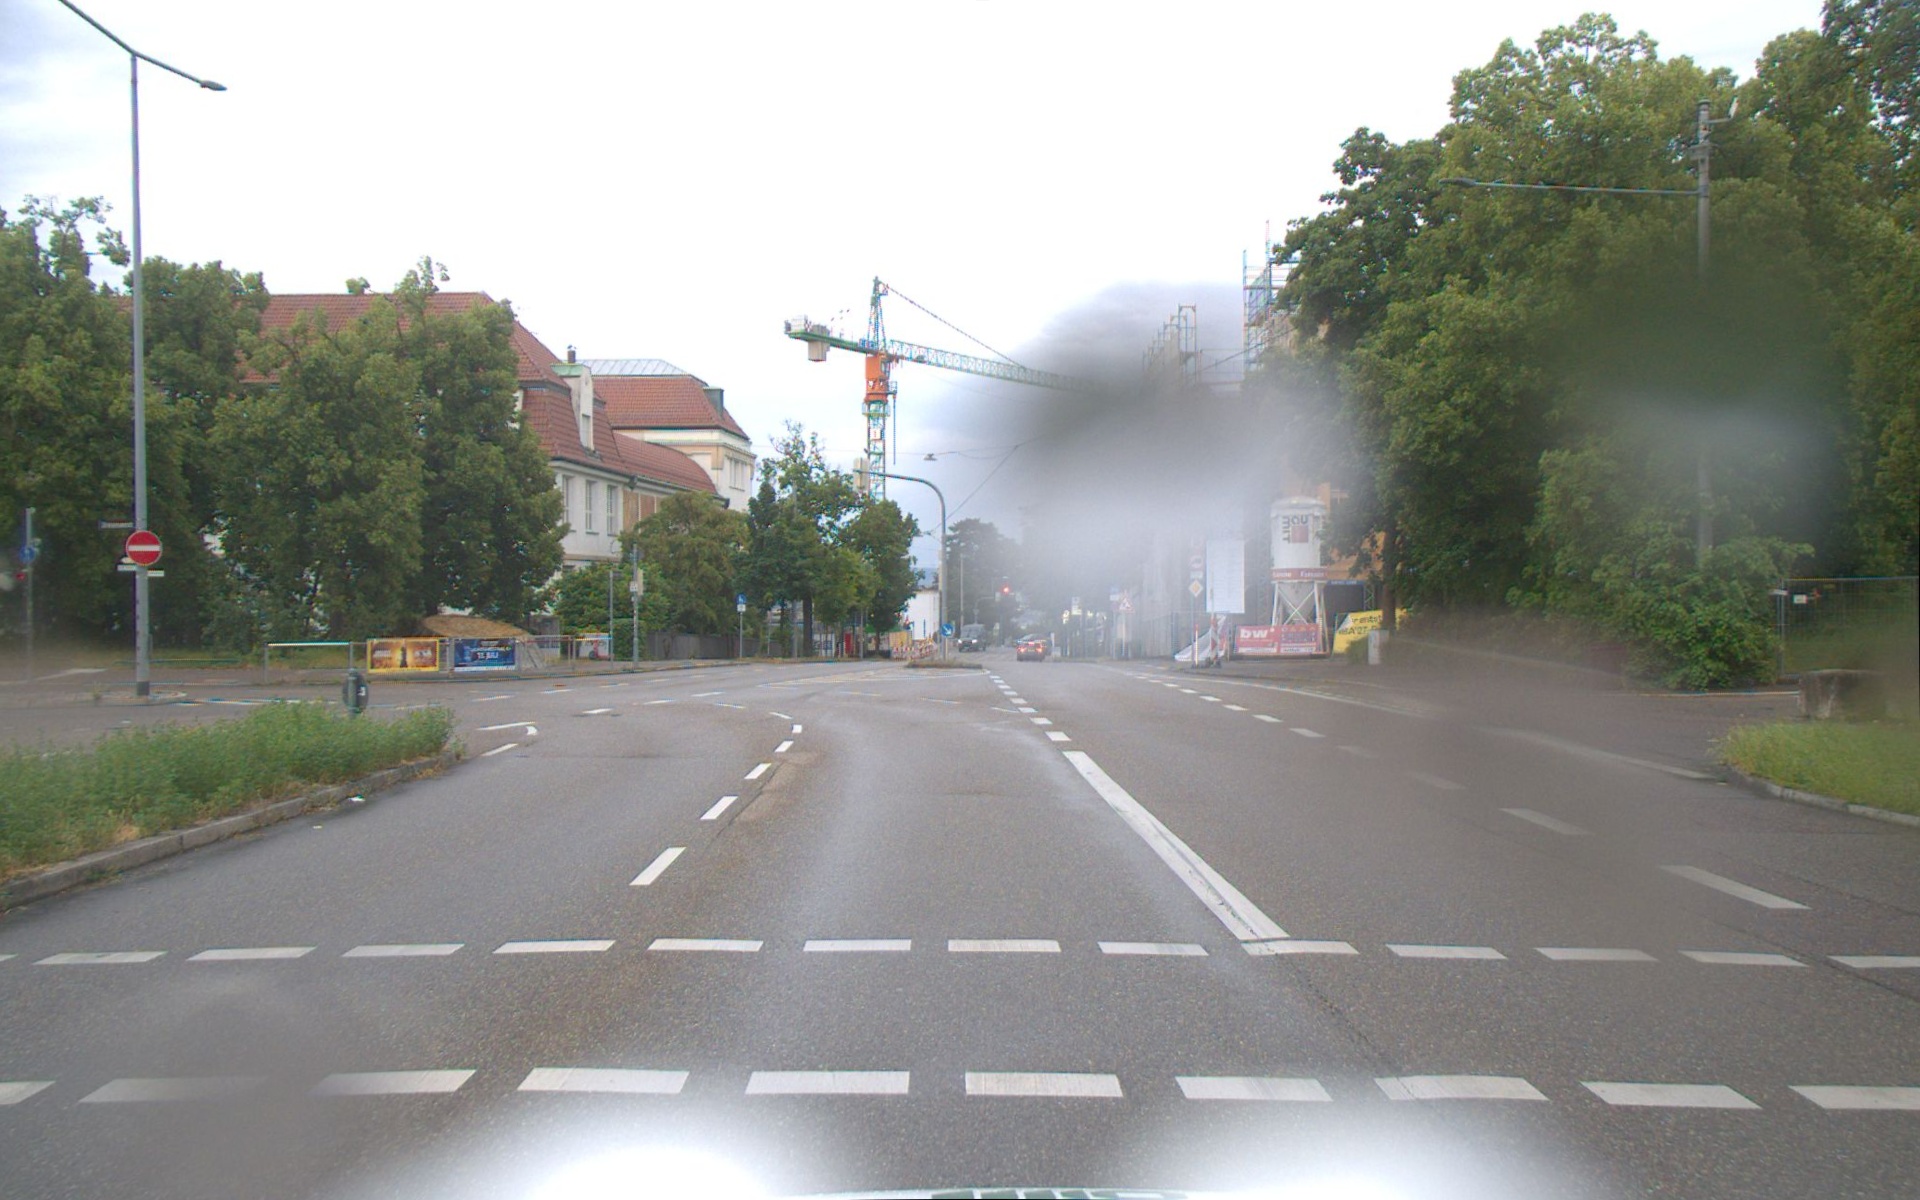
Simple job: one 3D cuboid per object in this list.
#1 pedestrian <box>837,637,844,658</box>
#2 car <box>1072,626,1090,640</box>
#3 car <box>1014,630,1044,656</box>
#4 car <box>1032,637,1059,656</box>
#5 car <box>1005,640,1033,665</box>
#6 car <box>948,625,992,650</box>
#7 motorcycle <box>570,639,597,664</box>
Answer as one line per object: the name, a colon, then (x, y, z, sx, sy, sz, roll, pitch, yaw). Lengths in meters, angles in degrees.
pedestrian: (-9.371, 3.715, 129.387, 0.483, 1.674, 0.533, 1, -1, 1)
car: (15.897, 4.365, 217.176, 1.951, 1.780, 4.003, -1, 0, 10)
car: (5.124, 3.178, 122.988, 1.953, 1.780, 3.999, -1, 0, -1)
car: (8.360, 4.529, 161.677, 1.951, 1.780, 4.003, -1, 0, 12)
car: (4.612, 4.072, 128.910, 1.953, 1.780, 3.999, -1, 0, -1)
car: (1.064, 3.774, 169.076, 2.788, 2.445, 6.191, 1, -1, 17)
motorcycle: (-14.216, 1.948, 62.489, 0.832, 0.893, 0.877, 1, -1, -1)
